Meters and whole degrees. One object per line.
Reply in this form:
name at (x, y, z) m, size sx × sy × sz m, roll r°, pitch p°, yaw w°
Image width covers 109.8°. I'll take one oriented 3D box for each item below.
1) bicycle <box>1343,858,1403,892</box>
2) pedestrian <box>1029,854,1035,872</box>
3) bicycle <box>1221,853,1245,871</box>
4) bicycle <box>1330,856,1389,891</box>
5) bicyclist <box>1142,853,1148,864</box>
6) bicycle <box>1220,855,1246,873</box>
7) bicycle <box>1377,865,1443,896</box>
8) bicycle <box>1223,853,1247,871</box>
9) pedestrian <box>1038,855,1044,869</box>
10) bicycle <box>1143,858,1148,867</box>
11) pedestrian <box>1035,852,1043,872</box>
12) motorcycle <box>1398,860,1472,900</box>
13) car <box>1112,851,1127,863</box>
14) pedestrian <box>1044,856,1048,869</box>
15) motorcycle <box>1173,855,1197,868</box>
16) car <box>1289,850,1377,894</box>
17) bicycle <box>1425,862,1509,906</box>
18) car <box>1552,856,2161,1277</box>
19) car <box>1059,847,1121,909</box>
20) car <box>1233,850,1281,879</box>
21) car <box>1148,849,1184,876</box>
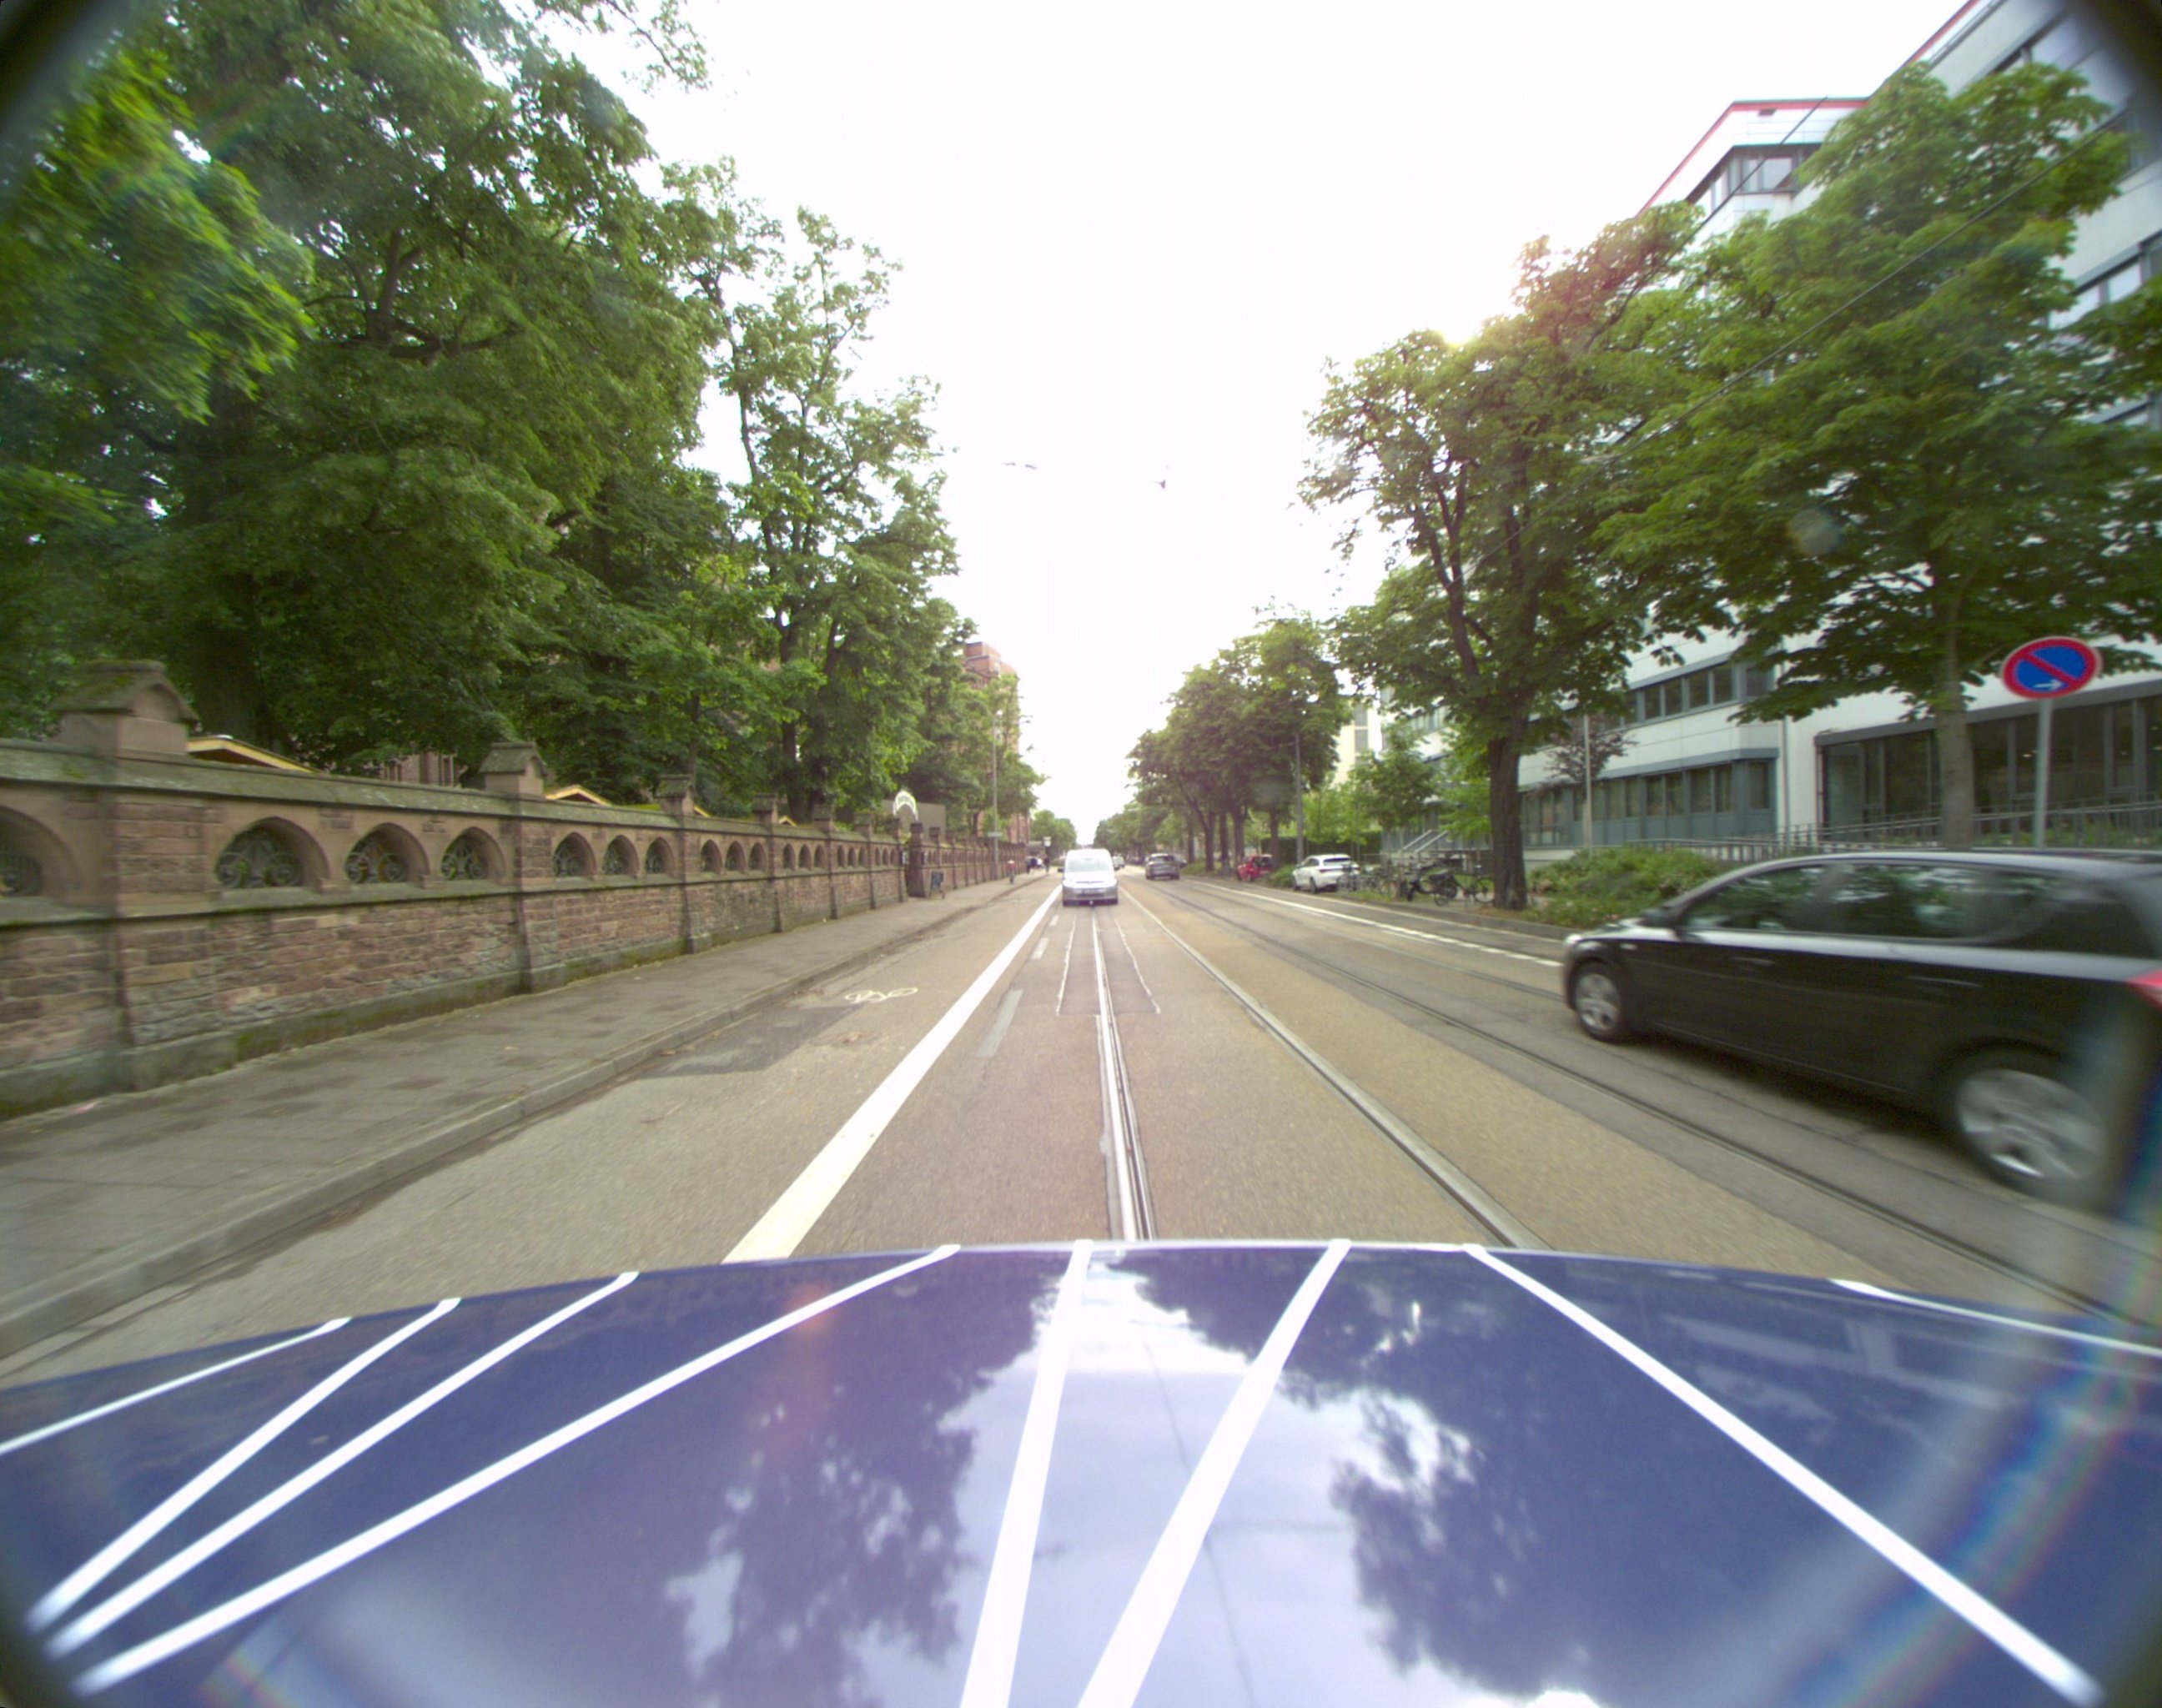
bicycle at (9.959, 0.718, 25.961) m, size 1.811 × 1.094 × 0.632 m, roll -1°, pitch 1°, yaw -5°
pedestrian at (-4.677, 0.860, 72.727) m, size 0.559 × 1.646 × 0.771 m, roll 0°, pitch 1°, yaw -2°
bicycle at (10.312, 0.530, 51.643) m, size 1.473 × 1.134 × 0.617 m, roll -3°, pitch 1°, yaw 0°
bicycle at (9.884, 0.691, 27.022) m, size 1.868 × 1.180 × 0.632 m, roll -1°, pitch 1°, yaw 5°
bicyclist at (8.500, 0.591, 100.917) m, size 0.636 × 1.528 × 0.955 m, roll -3°, pitch 1°, yaw 5°
bicycle at (10.019, 0.682, 50.141) m, size 1.474 × 1.085 × 0.616 m, roll -3°, pitch 1°, yaw -12°
bicycle at (10.189, 0.824, 23.567) m, size 1.811 × 0.894 × 0.632 m, roll -1°, pitch 1°, yaw -5°
bicycle at (10.355, 0.535, 51.137) m, size 1.473 × 1.134 × 0.617 m, roll -2°, pitch 1°, yaw -1°
pedestrian at (-5.023, 1.005, 95.035) m, size 0.669 × 1.703 × 0.997 m, roll 2°, pitch 1°, yaw -2°
bicycle at (8.530, 1.107, 100.931) m, size 0.636 × 1.045 × 1.994 m, roll -3°, pitch 1°, yaw 5°
pedestrian at (-4.054, 0.765, 72.925) m, size 0.723 × 1.834 × 0.897 m, roll 0°, pitch 1°, yaw -2°
motorcycle at (10.237, 0.745, 21.977) m, size 1.793 × 1.044 × 0.732 m, roll -3°, pitch 1°, yaw -6°
car at (5.385, 0.424, 106.129) m, size 1.745 × 1.490 × 4.260 m, roll -2°, pitch 0°, yaw -1°
pedestrian at (-4.382, 1.083, 95.170) m, size 0.529 × 1.548 × 0.489 m, roll 2°, pitch 1°, yaw -2°
motorcycle at (9.913, 0.700, 72.401) m, size 2.128 × 1.096 × 0.776 m, roll -2°, pitch 1°, yaw 42°
car at (9.760, 0.642, 29.849) m, size 1.886 × 1.485 × 4.753 m, roll -3°, pitch 0°, yaw 1°
bicycle at (10.009, 0.766, 19.716) m, size 1.834 × 1.047 × 0.741 m, roll -2°, pitch 0°, yaw -8°
car at (4.731, 0.765, 4.203) m, size 1.752 × 1.477 × 4.063 m, roll -1°, pitch 0°, yaw 1°
car at (0.318, 0.722, 26.180) m, size 1.850 × 1.797 × 4.936 m, roll -3°, pitch 1°, yaw 1°
car at (10.027, 0.575, 43.462) m, size 1.632 × 1.439 × 3.756 m, roll -5°, pitch 1°, yaw -3°
car at (5.370, 0.532, 48.582) m, size 1.846 × 1.644 × 4.389 m, roll 0°, pitch 0°, yaw 1°
